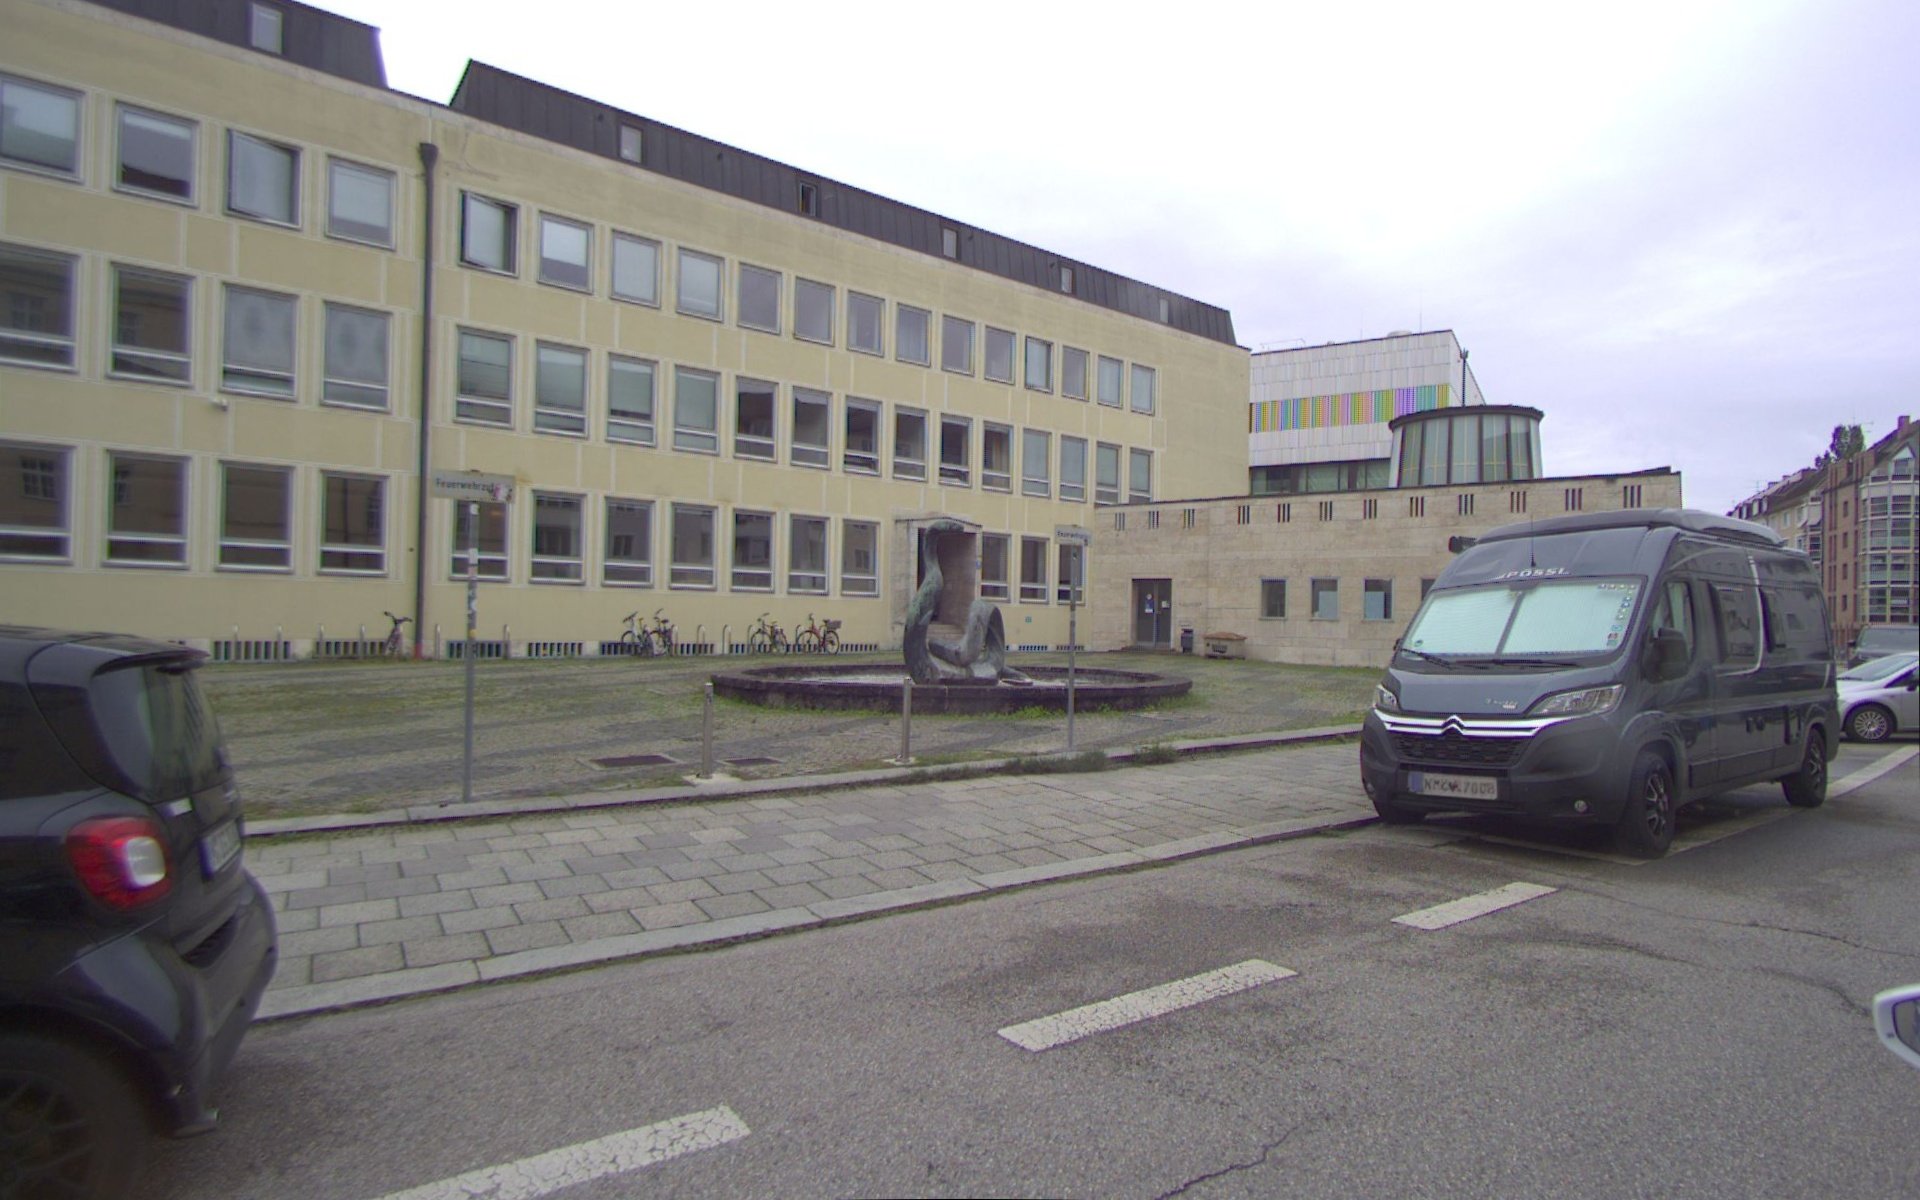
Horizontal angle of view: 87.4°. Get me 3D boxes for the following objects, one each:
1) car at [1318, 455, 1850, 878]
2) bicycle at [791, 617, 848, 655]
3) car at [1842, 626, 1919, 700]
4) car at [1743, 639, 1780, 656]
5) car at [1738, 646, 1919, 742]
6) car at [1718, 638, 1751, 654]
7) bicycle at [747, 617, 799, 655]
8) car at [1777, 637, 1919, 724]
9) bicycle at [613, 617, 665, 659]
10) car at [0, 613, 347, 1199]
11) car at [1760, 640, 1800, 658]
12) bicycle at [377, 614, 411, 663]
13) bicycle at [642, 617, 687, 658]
[{"bbox_3d":[5.878,0.510,9.062,5.963,2.676,2.148,2,-2,-38],"label":"car"},{"bbox_3d":[-4.091,1.037,29.219,0.621,1.028,1.927,1,-1,-44],"label":"bicycle"},{"bbox_3d":[23.763,1.558,25.677,1.659,1.729,4.493,1,-1,39],"label":"car"},{"bbox_3d":[76.945,4.542,96.502,1.779,1.492,4.114,1,0,24],"label":"car"},{"bbox_3d":[15.583,1.535,16.504,4.005,1.500,1.686,-1,-5,16],"label":"car"},{"bbox_3d":[80.869,4.783,104.889,1.779,1.492,4.114,1,0,24],"label":"car"},{"bbox_3d":[-5.326,1.011,28.541,0.620,1.028,1.932,1,-1,-37],"label":"bicycle"},{"bbox_3d":[17.979,1.501,18.641,4.005,1.501,1.685,1,-1,18],"label":"car"},{"bbox_3d":[-8.356,0.966,26.091,0.620,1.028,1.930,1,-1,-39],"label":"bicycle"},{"bbox_3d":[-3.332,0.796,2.529,2.942,1.521,1.663,2,-3,-30],"label":"car"},{"bbox_3d":[75.331,4.501,92.273,1.779,1.492,4.114,1,0,24],"label":"car"},{"bbox_3d":[-12.855,0.858,22.816,0.618,1.028,1.938,1,-1,-29],"label":"bicycle"},{"bbox_3d":[-7.936,0.998,26.915,0.619,1.028,1.935,1,-1,-33],"label":"bicycle"}]
